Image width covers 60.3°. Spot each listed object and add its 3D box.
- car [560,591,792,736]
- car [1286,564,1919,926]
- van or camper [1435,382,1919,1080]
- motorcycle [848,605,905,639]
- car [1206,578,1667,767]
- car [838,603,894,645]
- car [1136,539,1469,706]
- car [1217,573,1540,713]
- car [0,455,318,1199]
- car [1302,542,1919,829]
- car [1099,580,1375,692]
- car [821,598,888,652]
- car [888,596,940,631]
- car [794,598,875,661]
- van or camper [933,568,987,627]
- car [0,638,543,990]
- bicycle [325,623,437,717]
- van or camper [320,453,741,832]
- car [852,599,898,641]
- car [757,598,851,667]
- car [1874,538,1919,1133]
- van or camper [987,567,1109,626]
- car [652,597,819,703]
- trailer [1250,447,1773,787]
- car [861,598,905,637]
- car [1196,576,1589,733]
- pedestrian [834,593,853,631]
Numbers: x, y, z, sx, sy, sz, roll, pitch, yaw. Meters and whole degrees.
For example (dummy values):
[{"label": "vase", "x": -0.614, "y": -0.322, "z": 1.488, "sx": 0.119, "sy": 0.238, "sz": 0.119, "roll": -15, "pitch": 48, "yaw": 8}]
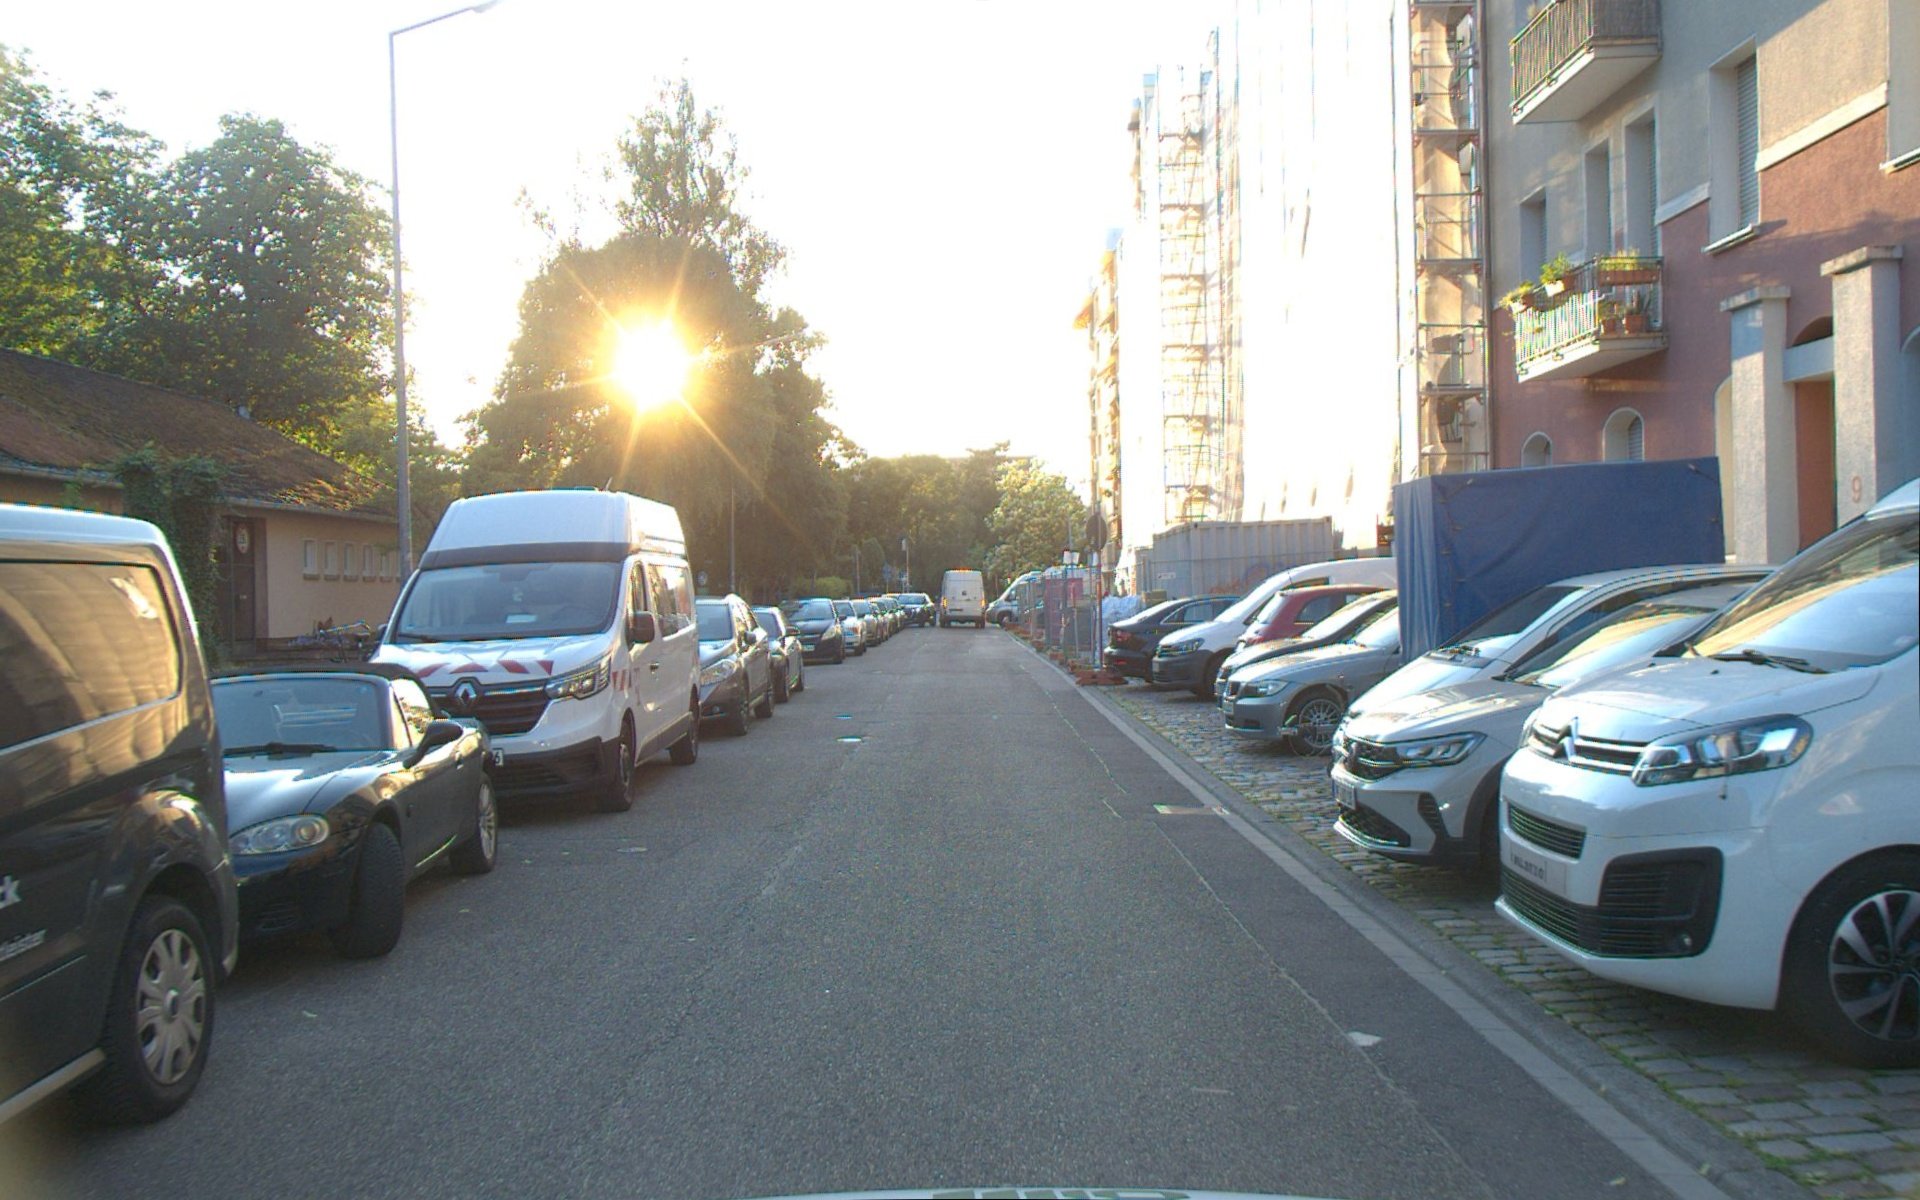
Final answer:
[{"label": "car", "x": -3.297, "y": 0.678, "z": 20.164, "sx": 1.952, "sy": 1.545, "sz": 4.789, "roll": 0, "pitch": 0, "yaw": 0}, {"label": "car", "x": 3.928, "y": 0.680, "z": 8.880, "sx": 3.907, "sy": 1.669, "sz": 1.999, "roll": -1, "pitch": -1, "yaw": -2}, {"label": "van or camper", "x": 4.439, "y": 0.366, "z": 6.152, "sx": 4.735, "sy": 2.133, "sz": 2.040, "roll": -1, "pitch": 0, "yaw": -1}, {"label": "motorcycle", "x": -3.350, "y": 0.885, "z": 66.433, "sx": 2.118, "sy": 1.326, "sz": 0.880, "roll": 0, "pitch": 0, "yaw": 14}, {"label": "car", "x": 4.535, "y": 0.660, "z": 16.148, "sx": 3.908, "sy": 1.666, "sz": 1.902, "roll": -1, "pitch": 0, "yaw": -3}, {"label": "car", "x": -3.235, "y": 0.801, "z": 57.459, "sx": 1.625, "sy": 1.336, "sz": 4.155, "roll": -2, "pitch": 0, "yaw": 0}, {"label": "car", "x": 4.794, "y": 0.285, "z": 23.440, "sx": 4.186, "sy": 2.014, "sz": 1.819, "roll": -4, "pitch": 1, "yaw": -8}, {"label": "car", "x": 5.239, "y": 0.518, "z": 21.007, "sx": 3.618, "sy": 1.638, "sz": 1.744, "roll": -1, "pitch": 0, "yaw": -3}, {"label": "car", "x": -3.161, "y": 0.602, "z": 3.296, "sx": 1.871, "sy": 1.819, "sz": 4.948, "roll": -2, "pitch": 0, "yaw": -1}, {"label": "car", "x": 4.568, "y": 0.551, "z": 11.523, "sx": 3.906, "sy": 1.758, "sz": 1.999, "roll": -1, "pitch": -1, "yaw": -2}, {"label": "car", "x": 4.295, "y": 0.547, "z": 26.141, "sx": 4.067, "sy": 1.644, "sz": 1.872, "roll": -1, "pitch": 0, "yaw": 1}, {"label": "car", "x": -3.274, "y": 0.766, "z": 52.172, "sx": 1.822, "sy": 1.565, "sz": 4.758, "roll": -2, "pitch": 0, "yaw": -1}, {"label": "car", "x": -2.169, "y": 0.623, "z": 79.577, "sx": 1.766, "sy": 1.597, "sz": 4.568, "roll": -1, "pitch": 0, "yaw": 7}, {"label": "car", "x": -3.246, "y": 0.743, "z": 43.628, "sx": 1.746, "sy": 1.471, "sz": 4.748, "roll": -3, "pitch": 0, "yaw": -1}, {"label": "van or camper", "x": 0.019, "y": -0.112, "z": 78.025, "sx": 2.403, "sy": 2.591, "sz": 6.083, "roll": 1, "pitch": 0, "yaw": 0}, {"label": "car", "x": -3.409, "y": 0.853, "z": 8.248, "sx": 1.955, "sy": 1.210, "sz": 4.032, "roll": 0, "pitch": 0, "yaw": -5}, {"label": "bicycle", "x": -6.545, "y": 0.767, "z": 18.794, "sx": 0.532, "sy": 0.981, "sz": 1.955, "roll": 0, "pitch": 0, "yaw": 2}, {"label": "van or camper", "x": -3.269, "y": 0.270, "z": 14.077, "sx": 1.953, "sy": 2.500, "sz": 6.083, "roll": -1, "pitch": 0, "yaw": 0}, {"label": "car", "x": -3.218, "y": 0.740, "z": 63.220, "sx": 1.569, "sy": 1.456, "sz": 3.802, "roll": -3, "pitch": 0, "yaw": -1}, {"label": "car", "x": -3.531, "y": 0.699, "z": 38.068, "sx": 1.954, "sy": 1.478, "sz": 3.998, "roll": 0, "pitch": 0, "yaw": -3}, {"label": "car", "x": 4.620, "y": 0.622, "z": 3.833, "sx": 3.907, "sy": 1.646, "sz": 1.999, "roll": -1, "pitch": 0, "yaw": -2}, {"label": "van or camper", "x": 4.228, "y": -0.152, "z": 80.540, "sx": 5.808, "sy": 2.818, "sz": 2.109, "roll": 0, "pitch": 0, "yaw": -1}, {"label": "car", "x": -3.369, "y": 0.709, "z": 25.603, "sx": 1.952, "sy": 1.478, "sz": 4.288, "roll": 0, "pitch": 0, "yaw": 0}, {"label": "trailer", "x": 4.370, "y": 0.116, "z": 13.524, "sx": 3.496, "sy": 2.377, "sz": 1.940, "roll": -3, "pitch": 0, "yaw": -3}, {"label": "car", "x": -3.211, "y": 0.733, "z": 69.627, "sx": 1.681, "sy": 1.522, "sz": 4.359, "roll": -2, "pitch": 0, "yaw": -1}, {"label": "car", "x": 4.734, "y": 0.573, "z": 18.454, "sx": 3.885, "sy": 1.599, "sz": 1.788, "roll": -1, "pitch": 0, "yaw": -3}, {"label": "pedestrian", "x": -5.746, "y": 0.585, "z": 81.476, "sx": 0.919, "sy": 1.862, "sz": 0.786, "roll": 0, "pitch": 0, "yaw": -1}]
